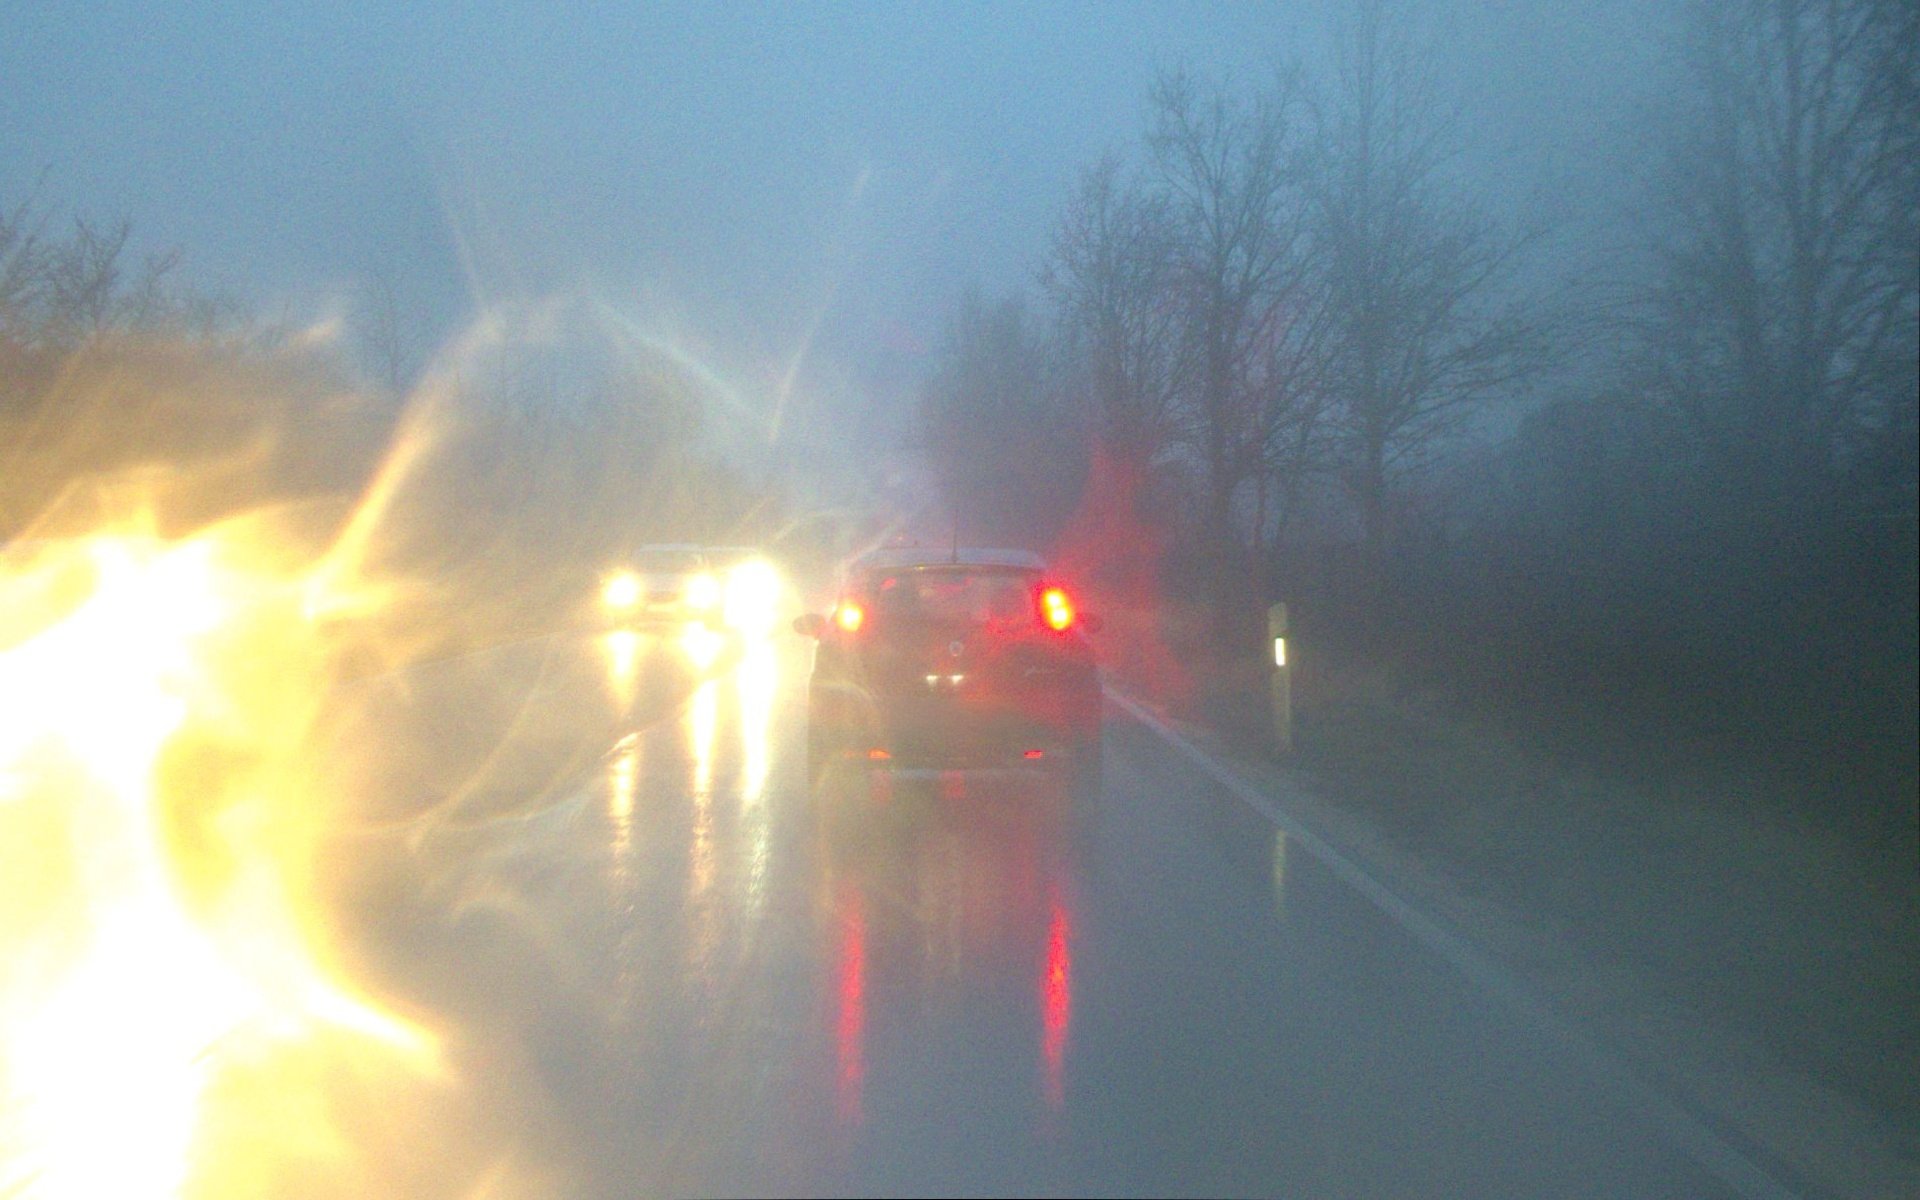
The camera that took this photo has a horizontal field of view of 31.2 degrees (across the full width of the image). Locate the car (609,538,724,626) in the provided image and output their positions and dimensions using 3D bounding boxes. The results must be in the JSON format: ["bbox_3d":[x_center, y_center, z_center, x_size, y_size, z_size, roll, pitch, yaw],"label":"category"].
[{"bbox_3d":[-5.152,-0.340,60.775,1.825,1.493,4.096,0,1,-2],"label":"car"}]

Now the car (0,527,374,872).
[{"bbox_3d":[-4.023,0.388,16.621,1.751,1.469,3.891,0,1,-1],"label":"car"}]

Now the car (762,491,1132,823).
[{"bbox_3d":[-0.053,0.275,20.818,1.993,1.778,4.000,1,1,1],"label":"car"}]

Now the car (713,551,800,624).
[{"bbox_3d":[-4.793,-0.314,81.559,1.758,1.635,4.686,1,1,0],"label":"car"}]

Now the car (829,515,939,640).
[{"bbox_3d":[-1.157,-0.373,53.821,1.574,1.868,3.709,1,1,1],"label":"car"}]
